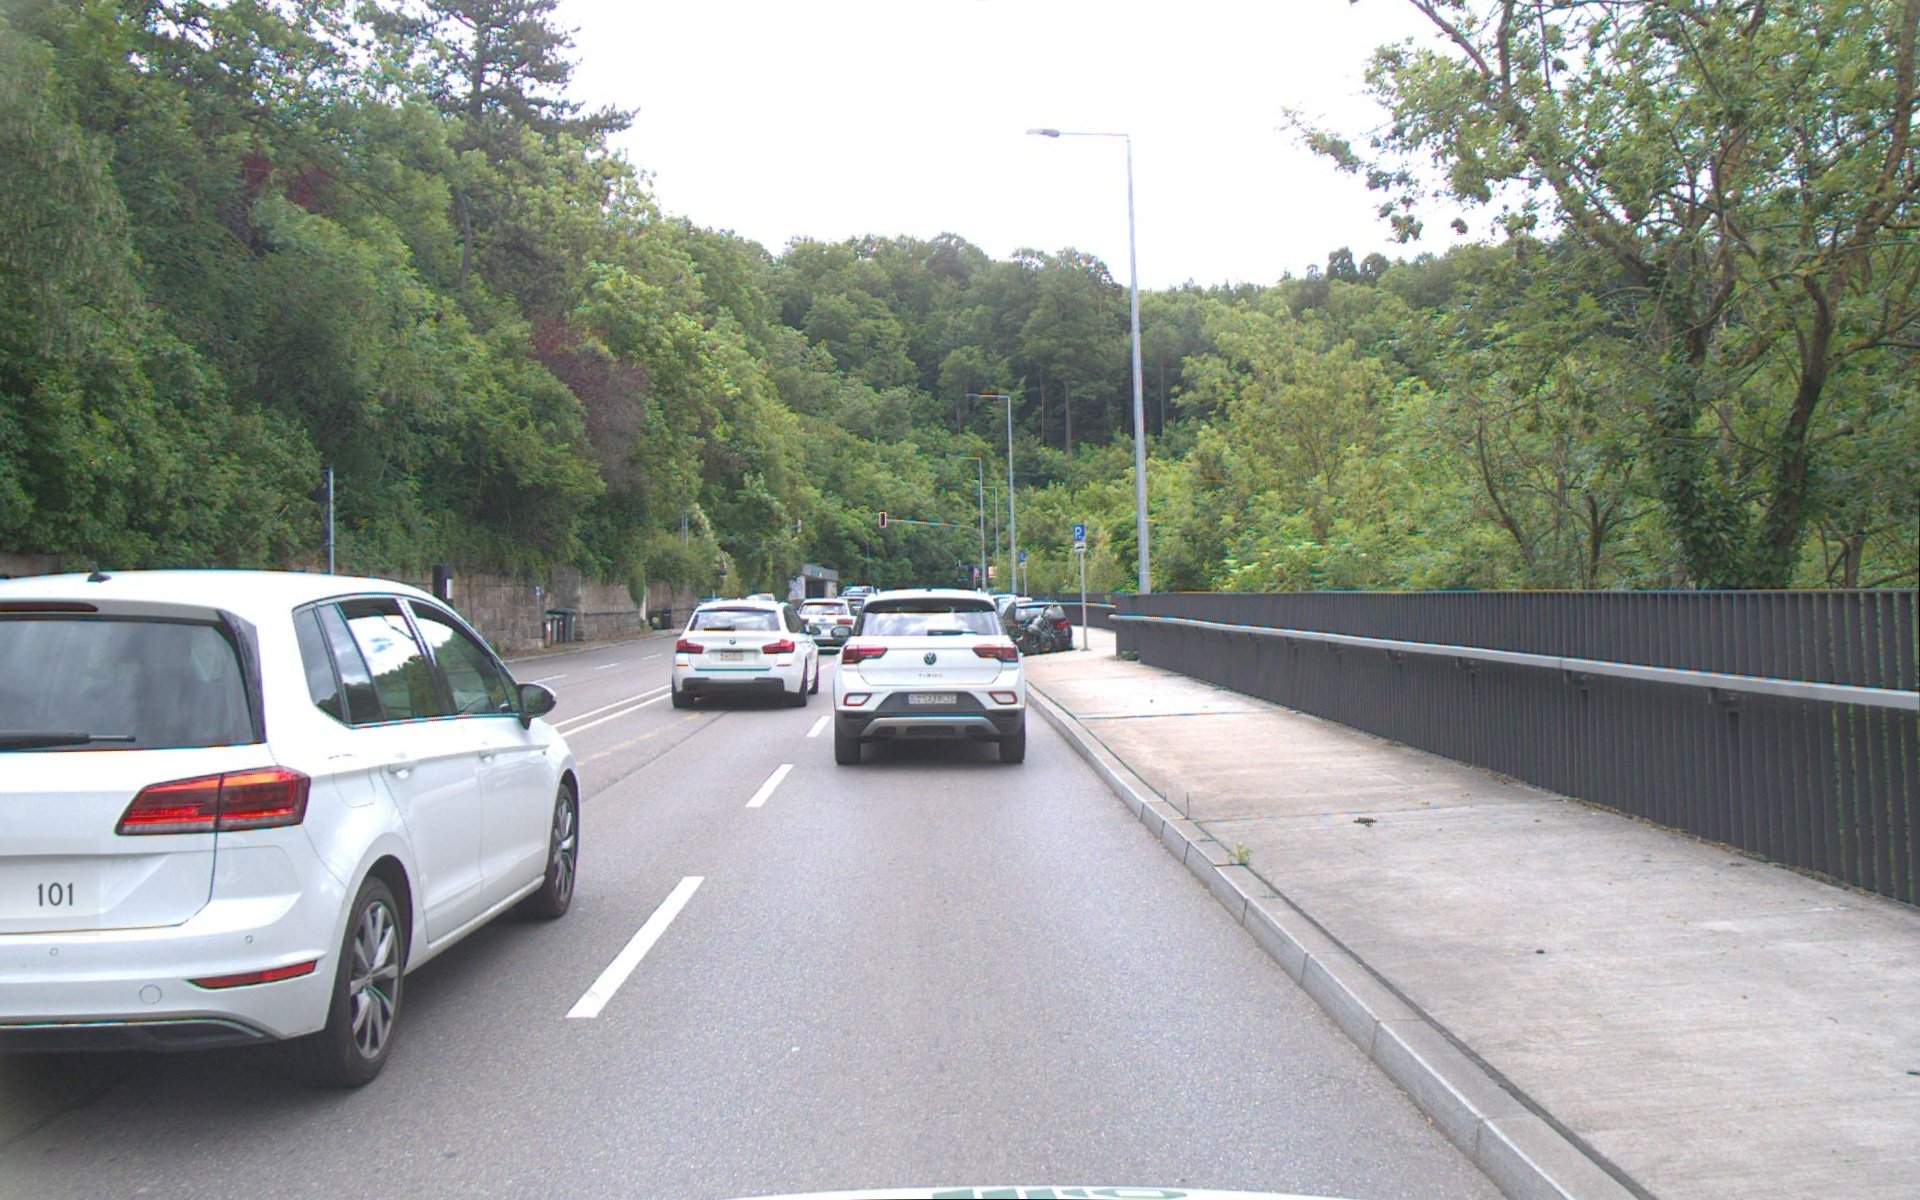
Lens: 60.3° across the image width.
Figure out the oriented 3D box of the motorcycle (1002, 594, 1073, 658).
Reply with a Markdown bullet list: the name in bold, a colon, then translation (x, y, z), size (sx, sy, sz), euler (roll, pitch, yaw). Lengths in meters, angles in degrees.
- **motorcycle**: translation (1.899, 0.617, 39.940), size (0.754, 1.493, 2.502), euler (0, 0, 27)

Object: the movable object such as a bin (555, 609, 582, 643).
- **movable object such as a bin**: translation (-12.905, 0.843, 54.513), size (0.772, 1.089, 0.708), euler (-1, 1, -5)

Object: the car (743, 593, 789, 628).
- **car**: translation (-9.715, 0.533, 83.134), size (1.778, 1.727, 4.469), euler (0, 0, 0)

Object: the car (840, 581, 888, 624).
- **car**: translation (-4.324, 0.115, 74.944), size (1.953, 1.897, 3.999), euler (0, 0, -1)

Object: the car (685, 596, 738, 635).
- **car**: translation (-9.769, 0.589, 65.227), size (1.551, 1.487, 3.523), euler (-1, 0, 0)

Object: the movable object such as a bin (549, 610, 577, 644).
- **movable object such as a bin**: translation (-12.913, 0.875, 53.774), size (0.757, 1.080, 0.717), euler (-1, 0, -5)

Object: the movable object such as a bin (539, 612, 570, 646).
- **movable object such as a bin**: translation (-12.991, 0.920, 53.012), size (0.881, 1.052, 0.621), euler (-1, 0, -5)

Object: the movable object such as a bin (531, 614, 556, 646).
- **movable object such as a bin**: translation (-13.033, 0.925, 51.742), size (0.660, 0.983, 0.543), euler (-1, 0, -5)

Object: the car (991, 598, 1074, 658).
- **car**: translation (1.876, 0.705, 43.978), size (1.787, 1.425, 4.317), euler (-3, 0, -3)

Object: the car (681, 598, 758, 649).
- **car**: translation (-7.210, 0.701, 49.961), size (1.819, 1.471, 4.294), euler (0, 0, -2)

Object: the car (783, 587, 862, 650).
- **car**: translation (-3.692, 0.505, 44.944), size (1.824, 1.623, 3.999), euler (1, -1, -1)

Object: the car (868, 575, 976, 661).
- **car**: translation (-0.833, 0.409, 38.769), size (1.951, 1.875, 4.153), euler (1, 0, 6)

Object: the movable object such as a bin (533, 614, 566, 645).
- **movable object such as a bin**: translation (-13.004, 0.940, 52.385), size (0.898, 0.962, 0.593), euler (-1, 0, -5)

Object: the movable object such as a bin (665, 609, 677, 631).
- **movable object such as a bin**: translation (-13.061, 0.905, 74.707), size (0.469, 0.952, 0.365), euler (1, -1, -6)

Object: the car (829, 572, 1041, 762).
- **car**: translation (-0.246, 0.603, 16.143), size (1.777, 1.566, 4.007), euler (-2, -1, -1)

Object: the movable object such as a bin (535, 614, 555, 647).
- **movable object such as a bin**: translation (-12.797, 0.937, 51.025), size (0.506, 0.983, 0.474), euler (-1, 0, -5)

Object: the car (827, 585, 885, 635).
- **car**: translation (-3.780, 0.367, 60.712), size (1.953, 1.771, 3.999), euler (0, 0, -1)

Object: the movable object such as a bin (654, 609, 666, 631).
- **movable object such as a bin**: translation (-13.557, 0.885, 74.665), size (0.468, 0.988, 0.367), euler (1, -1, -6)

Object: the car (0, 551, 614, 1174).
- **car**: translation (-2.582, 0.664, 6.341), size (1.685, 1.581, 4.274), euler (0, 0, -1)

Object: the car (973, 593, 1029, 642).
- **car**: translation (1.423, 0.605, 58.740), size (1.692, 1.596, 4.622), euler (-2, 0, -2)

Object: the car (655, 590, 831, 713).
- **car**: translation (-3.016, 0.663, 23.951), size (1.953, 1.585, 4.680), euler (0, 0, 0)
